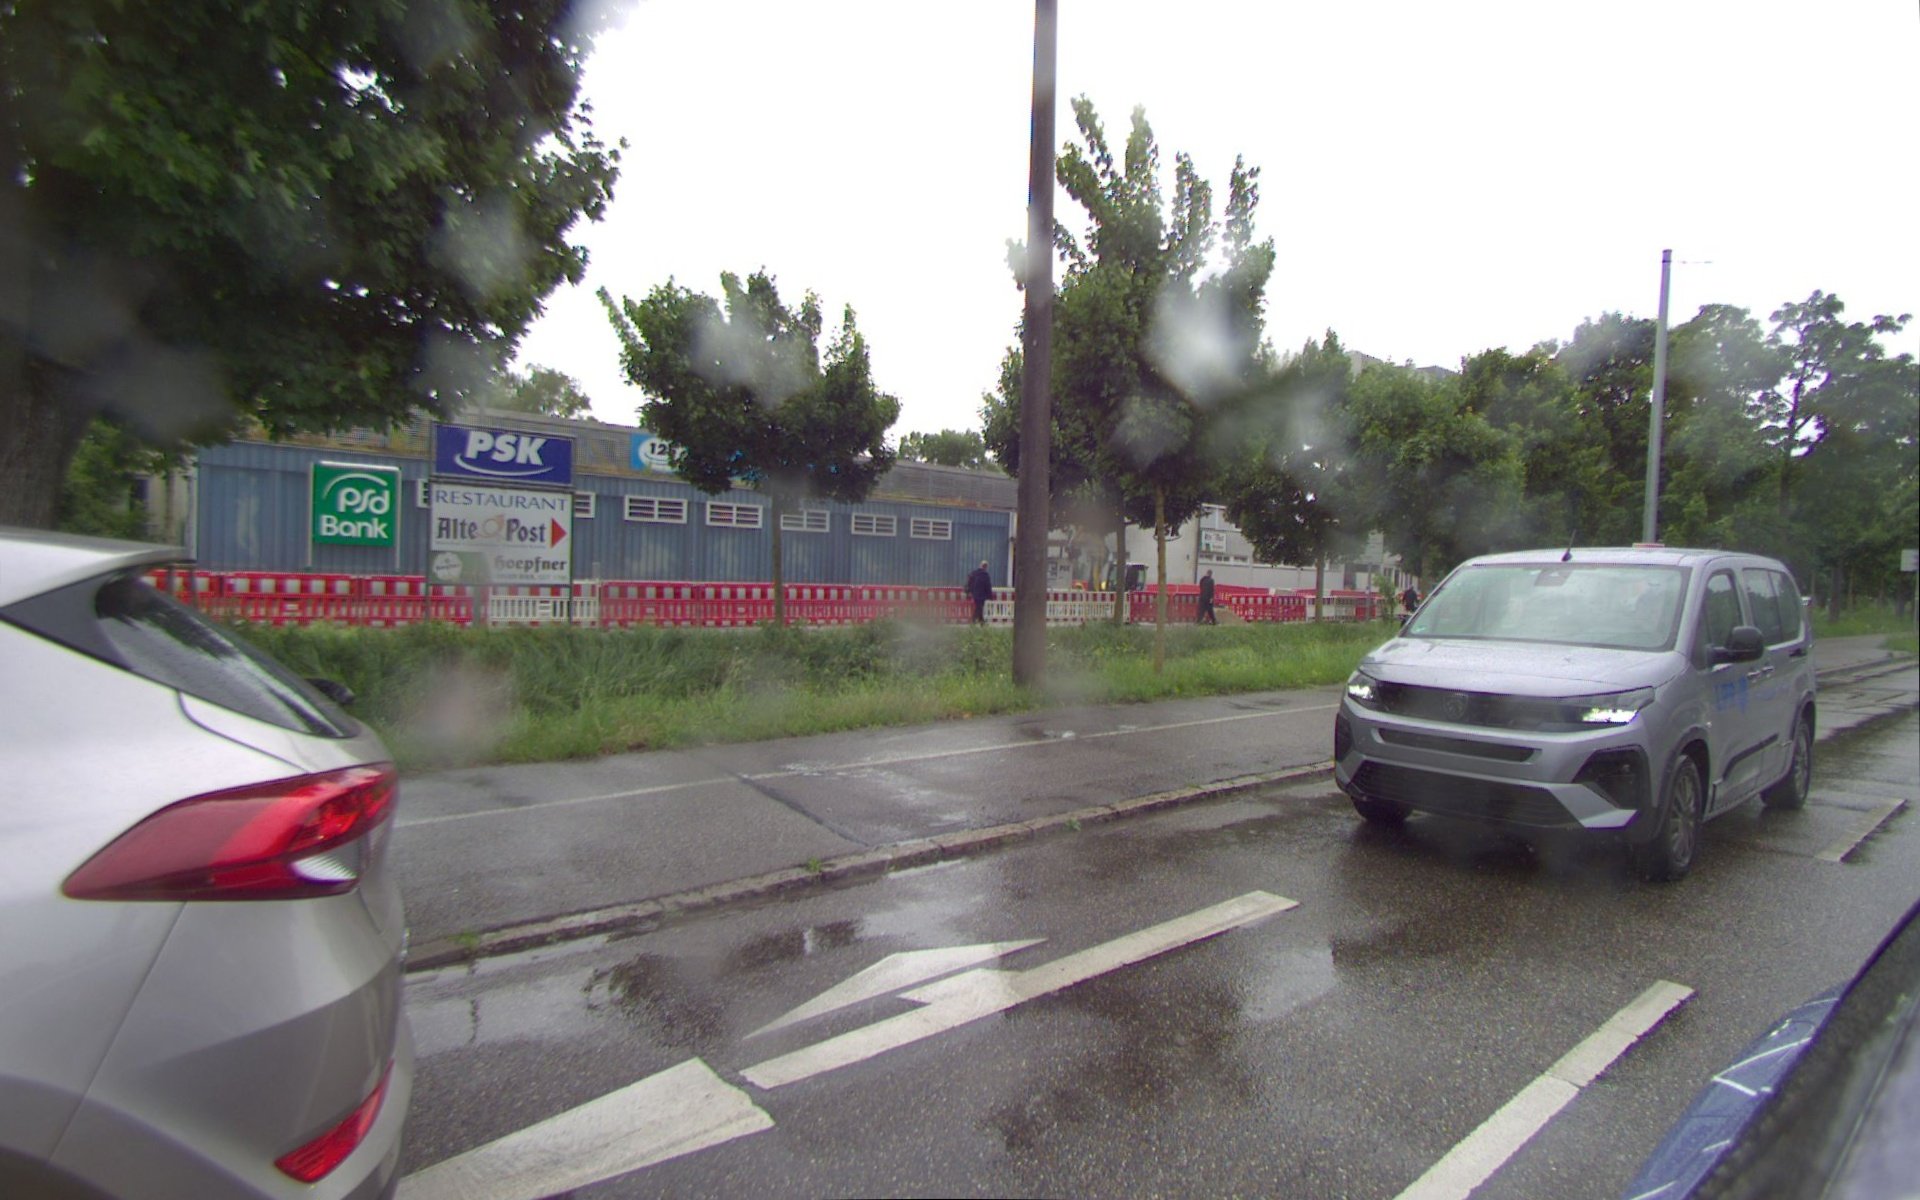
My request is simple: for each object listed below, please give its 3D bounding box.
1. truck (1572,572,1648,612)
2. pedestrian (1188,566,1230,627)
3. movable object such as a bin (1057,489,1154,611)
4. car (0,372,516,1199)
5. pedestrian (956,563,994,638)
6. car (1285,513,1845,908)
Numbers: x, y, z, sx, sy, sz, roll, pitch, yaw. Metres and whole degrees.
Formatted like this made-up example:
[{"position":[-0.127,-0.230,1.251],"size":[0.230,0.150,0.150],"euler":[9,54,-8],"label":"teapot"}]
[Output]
[{"position":[51.398,-0.642,79.898],"size":[8.599,2.935,2.808],"euler":[-1,1,-42],"label":"truck"},{"position":[8.164,-0.134,33.201],"size":[1.192,1.960,0.814],"euler":[0,0,-42],"label":"pedestrian"},{"position":[5.647,-1.862,39.147],"size":[3.839,4.482,1.557],"euler":[0,0,-39],"label":"movable object such as a bin"},{"position":[-2.827,0.558,0.874],"size":[4.123,1.630,1.887],"euler":[-1,2,-41],"label":"car"},{"position":[0.393,0.008,26.682],"size":[0.861,1.920,0.580],"euler":[0,0,-41],"label":"pedestrian"},{"position":[4.316,0.486,6.890],"size":[4.483,1.818,1.997],"euler":[0,1,-41],"label":"car"}]
